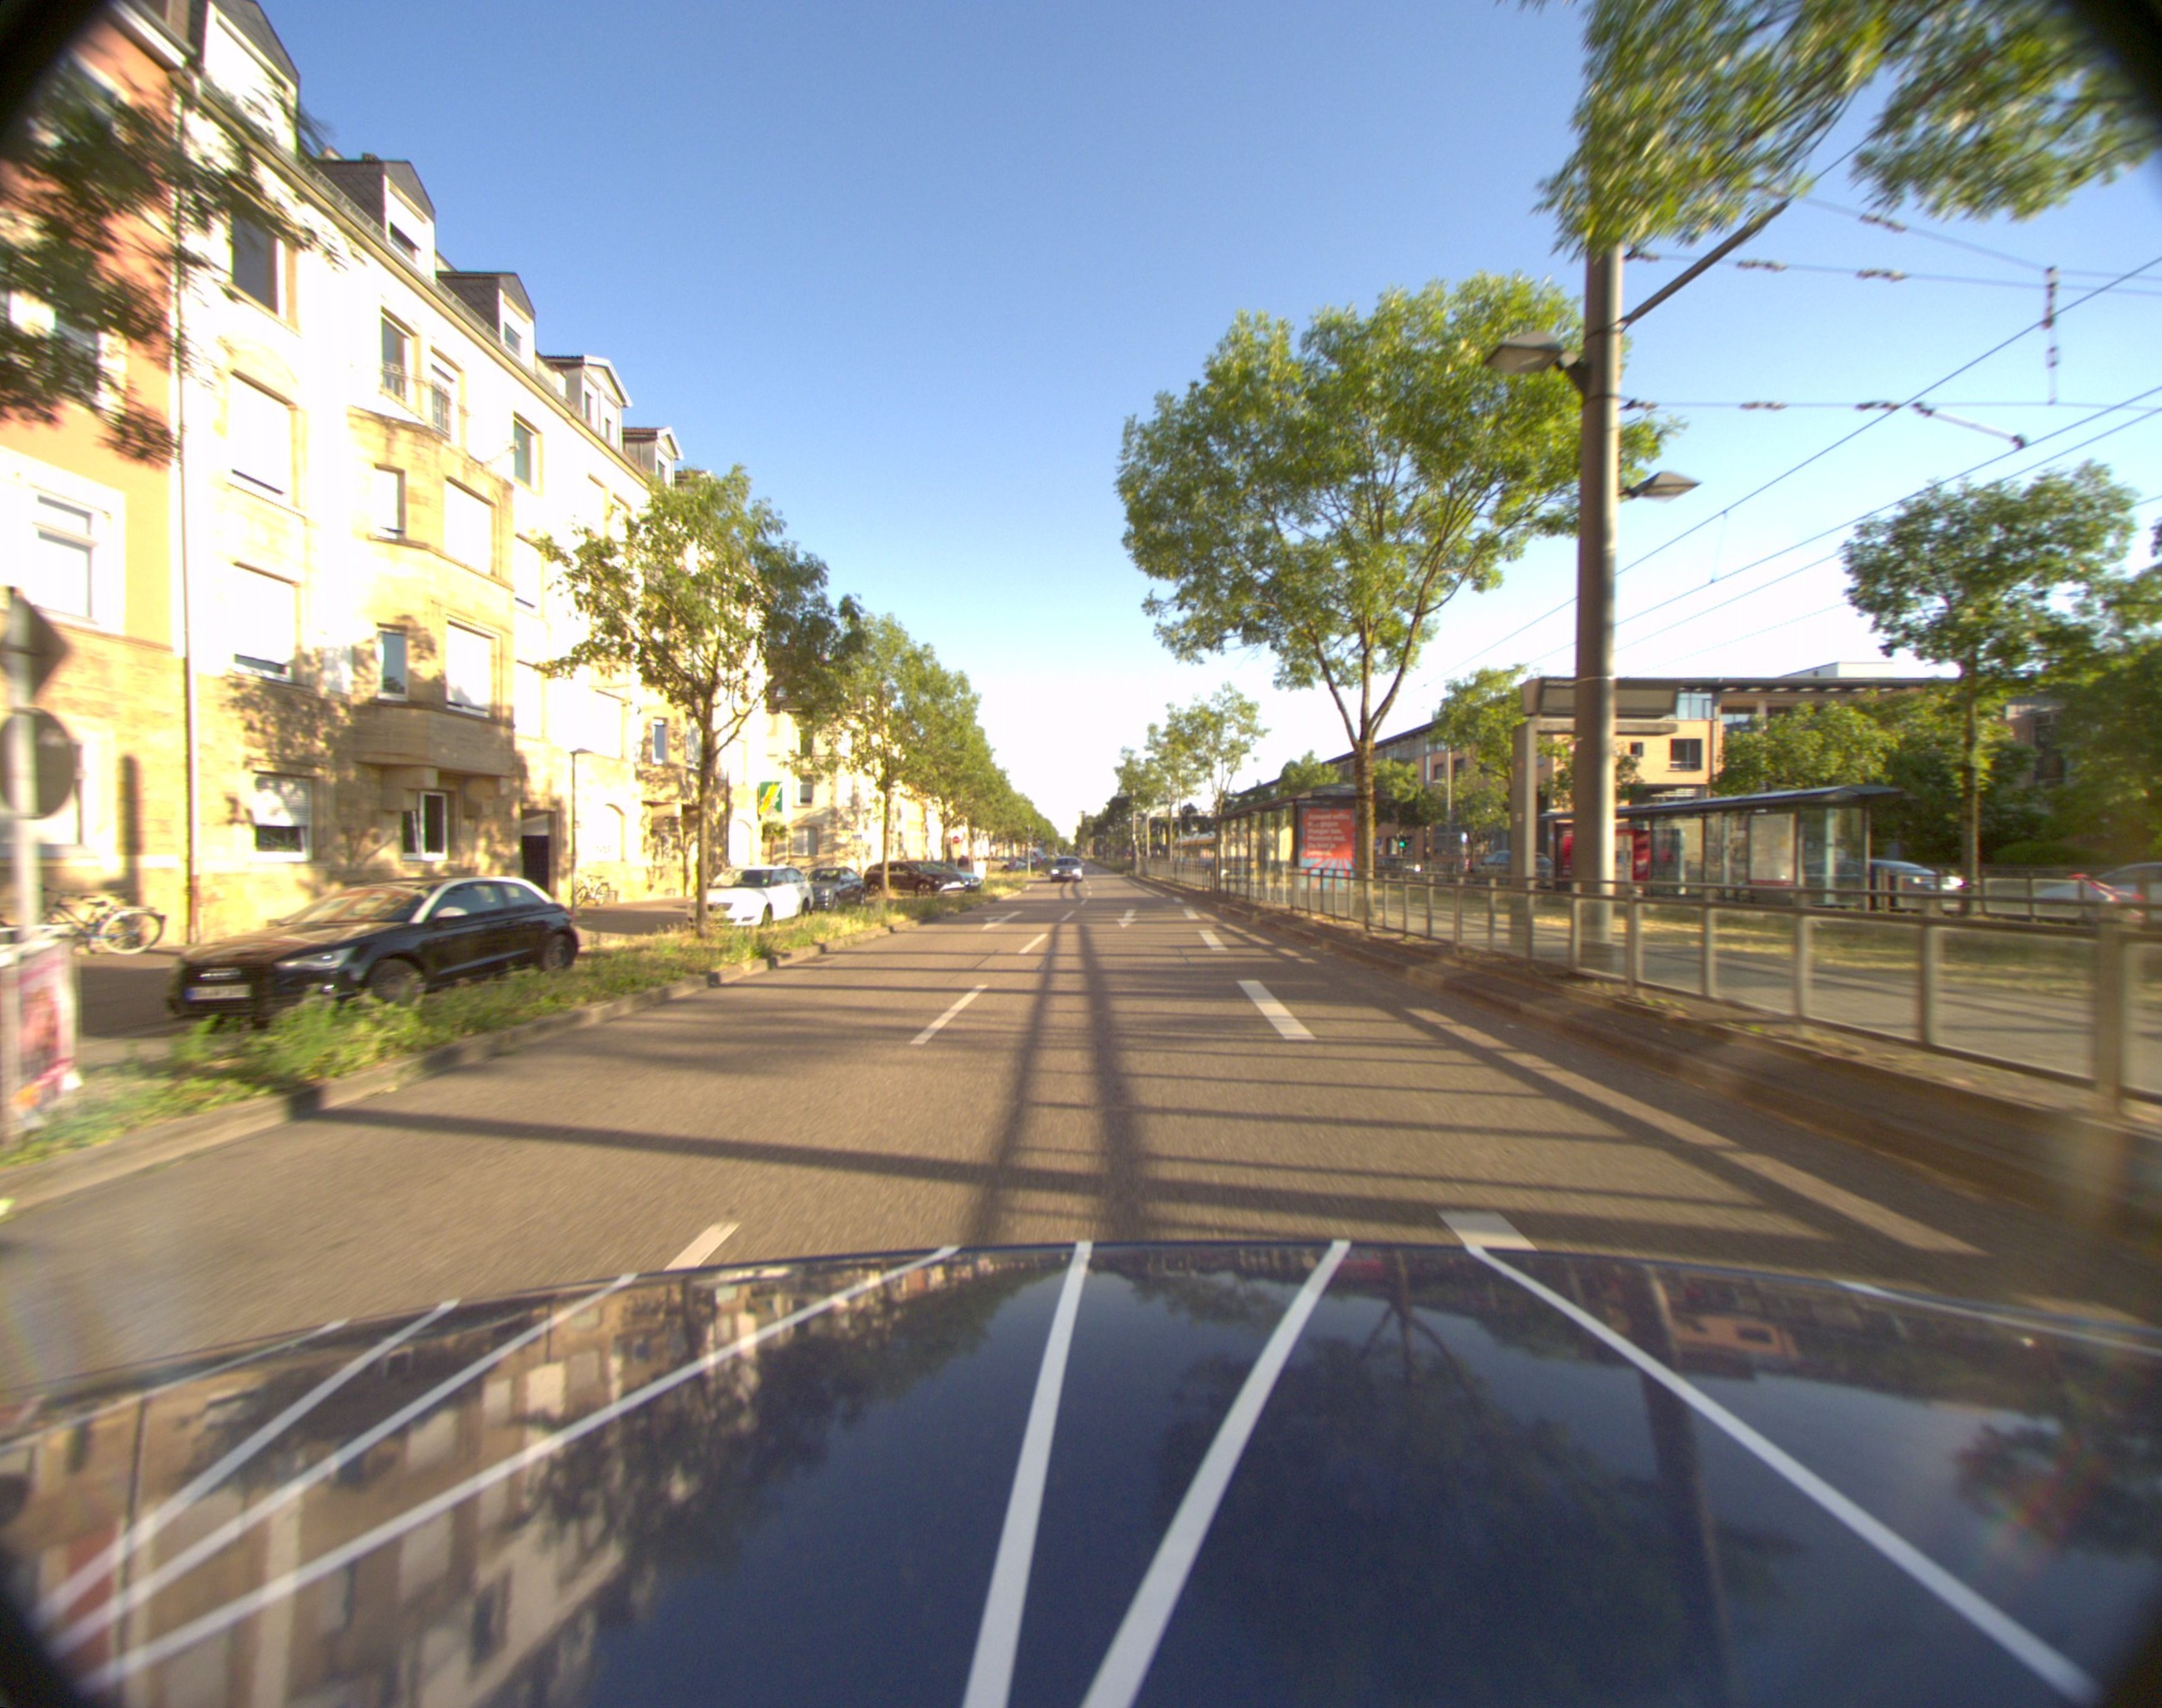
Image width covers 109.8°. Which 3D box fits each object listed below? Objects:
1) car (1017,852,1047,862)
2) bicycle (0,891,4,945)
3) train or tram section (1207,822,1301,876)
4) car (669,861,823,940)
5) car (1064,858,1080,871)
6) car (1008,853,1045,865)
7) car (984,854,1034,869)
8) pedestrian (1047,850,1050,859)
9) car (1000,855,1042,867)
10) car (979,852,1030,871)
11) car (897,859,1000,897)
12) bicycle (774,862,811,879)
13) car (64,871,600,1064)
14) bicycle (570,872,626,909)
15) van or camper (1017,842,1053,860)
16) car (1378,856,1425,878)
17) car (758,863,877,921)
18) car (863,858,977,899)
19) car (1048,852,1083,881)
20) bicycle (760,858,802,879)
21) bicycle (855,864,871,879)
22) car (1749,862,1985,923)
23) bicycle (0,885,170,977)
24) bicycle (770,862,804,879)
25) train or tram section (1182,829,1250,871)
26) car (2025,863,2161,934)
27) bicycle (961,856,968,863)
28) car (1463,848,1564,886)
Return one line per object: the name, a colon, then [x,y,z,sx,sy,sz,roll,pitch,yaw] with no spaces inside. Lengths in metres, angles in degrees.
car: [-7.113,0.468,110.424,4.042,1.429,1.730,-1,1,28]
bicycle: [-15.006,1.065,9.511,0.484,1.158,1.746,5,0,0]
train or tram section: [11.933,-0.356,54.301,3.440,3.320,13.855,0,0,0]
car: [-7.736,0.993,18.027,1.730,1.503,4.271,-3,0,-1]
car: [-1.098,1.272,97.330,1.870,1.586,3.952,0,0,1]
car: [-6.956,0.583,97.004,4.633,1.501,1.851,0,1,35]
car: [-7.059,0.734,74.292,4.542,1.392,2.035,0,1,30]
pedestrian: [-6.544,0.102,153.730,0.514,2.002,0.599,0,1,-1]
car: [-6.843,0.766,87.051,4.570,1.340,1.900,0,1,32]
car: [-6.893,0.678,68.271,4.420,1.681,1.920,-1,0,35]
car: [-5.831,1.020,33.319,4.275,1.513,1.850,-1,0,32]
bicycle: [-19.096,1.077,50.332,2.211,1.099,0.538,0,1,-4]
car: [-7.680,1.006,8.562,1.708,1.440,4.288,-3,0,0]
bicycle: [-15.185,1.129,23.932,0.573,1.067,1.896,1,0,0]
van or camper: [-7.675,-0.493,126.658,5.635,2.796,2.208,0,1,31]
car: [20.388,0.789,48.471,1.543,1.290,3.690,1,1,2]
car: [-7.978,1.081,23.558,1.950,1.436,4.908,-3,0,-1]
car: [-6.585,1.003,30.905,4.330,1.562,2.006,-2,-1,32]
car: [-0.943,0.695,45.264,1.999,1.655,3.999,0,0,-3]
bicycle: [-19.212,0.934,48.722,2.356,1.312,0.730,0,1,-4]
bicycle: [-14.371,1.142,50.029,0.461,0.868,1.884,5,1,0]
car: [19.110,0.865,18.778,1.698,1.290,4.000,0,0,0]
bicycle: [-15.010,1.105,11.414,0.484,1.158,1.746,5,0,0]
bicycle: [-19.219,1.092,49.683,1.978,1.117,0.575,0,1,-4]
train or tram section: [11.892,-0.368,68.751,3.440,3.410,15.025,0,0,0]
car: [22.016,0.930,15.169,1.616,1.368,3.749,3,0,0]
bicycle: [-15.935,0.708,104.024,0.580,0.985,1.927,0,0,-1]
car: [18.508,0.513,32.760,1.867,1.499,4.360,0,0,0]
